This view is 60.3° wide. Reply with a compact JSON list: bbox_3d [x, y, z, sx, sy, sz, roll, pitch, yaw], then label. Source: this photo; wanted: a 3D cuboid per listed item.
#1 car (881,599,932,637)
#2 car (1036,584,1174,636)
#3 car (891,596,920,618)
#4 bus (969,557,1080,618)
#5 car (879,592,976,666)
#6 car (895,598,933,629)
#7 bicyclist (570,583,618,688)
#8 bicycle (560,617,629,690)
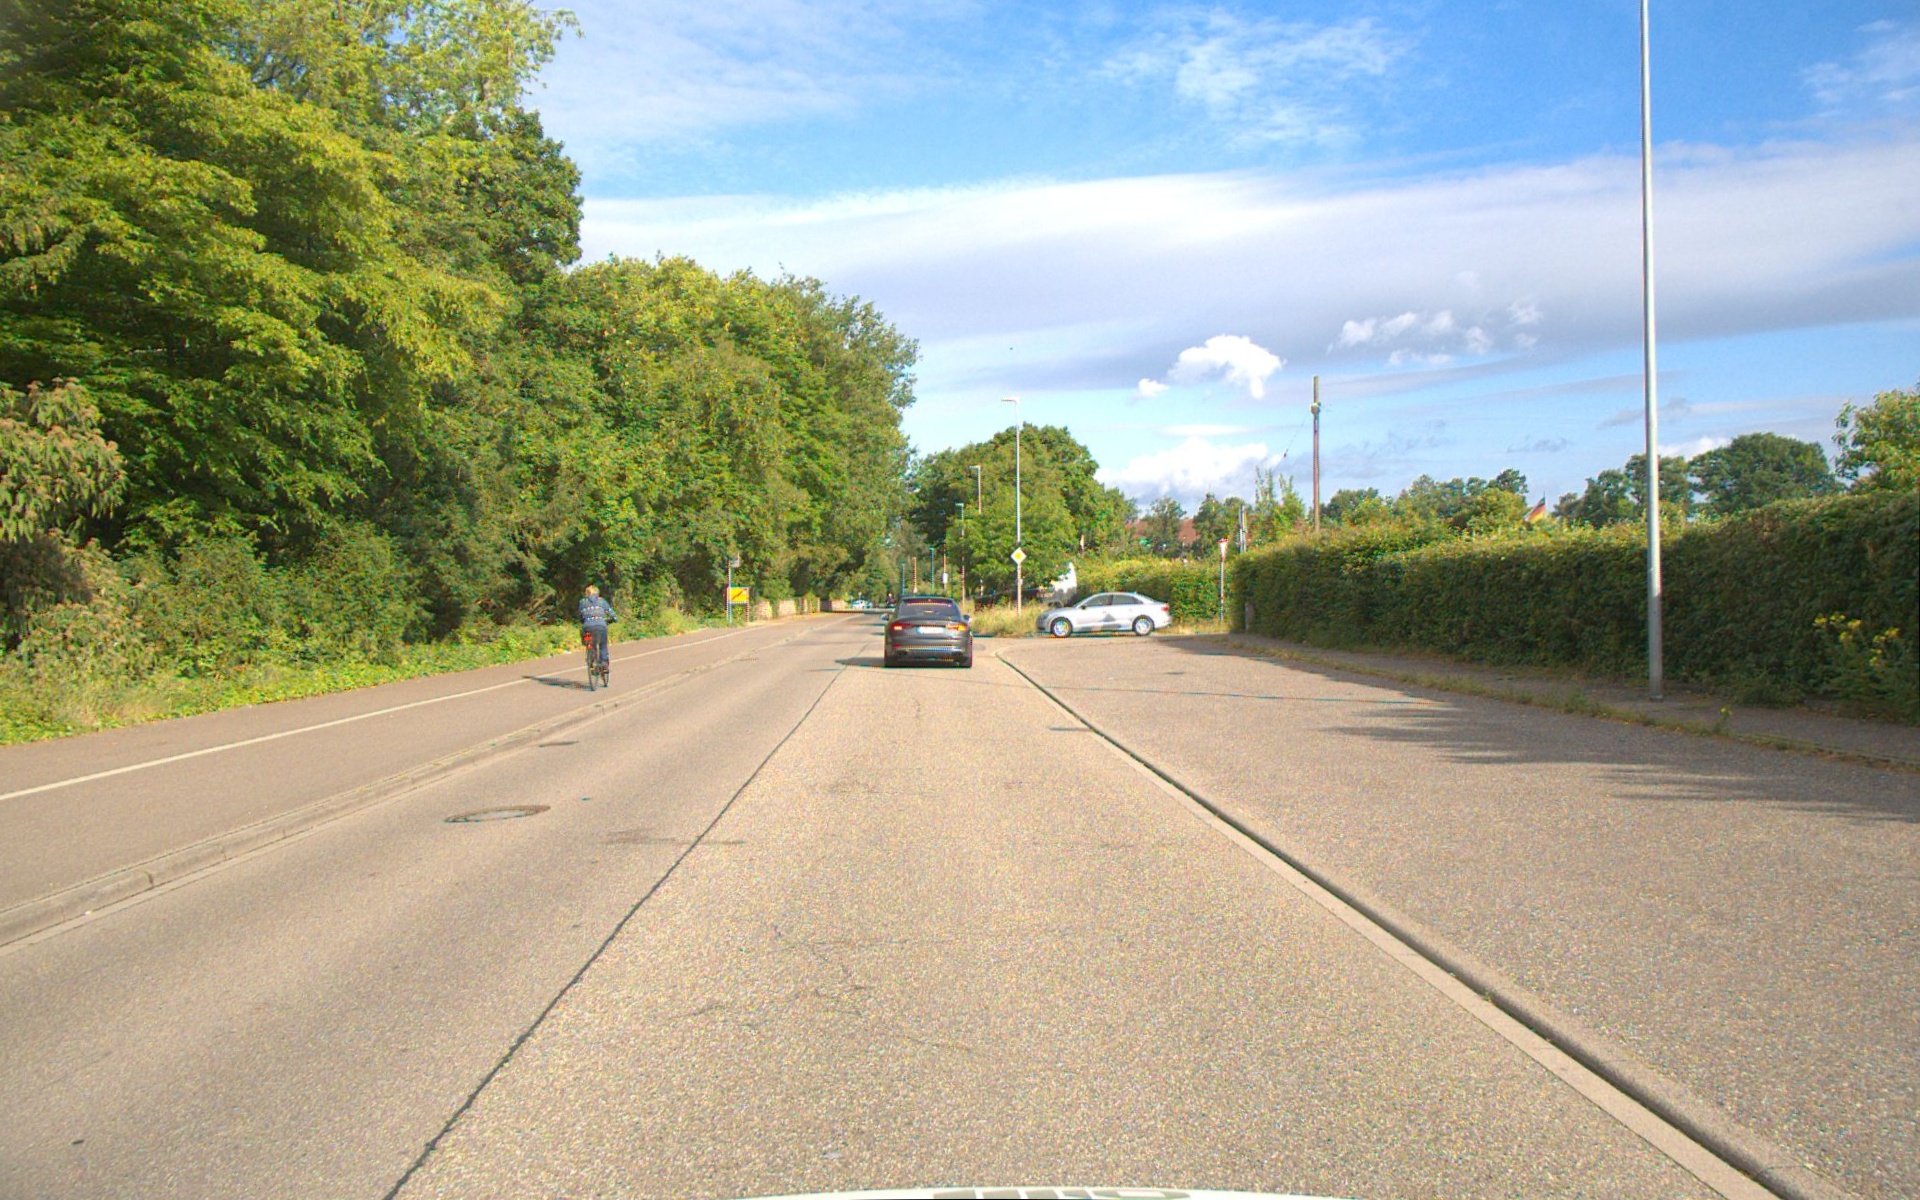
[{"bbox_3d":[-2.082,0.671,63.527,1.849,1.396,4.052,-1,0,-3],"label":"car"},{"bbox_3d":[4.616,0.318,52.837,4.270,1.468,1.933,-2,0,5],"label":"car"},{"bbox_3d":[-3.627,0.435,110.146,1.849,1.396,4.052,-1,0,-3],"label":"car"},{"bbox_3d":[3.190,-0.625,82.800,5.260,2.794,2.066,-2,1,-5],"label":"bus"},{"bbox_3d":[-0.679,0.564,34.951,1.926,1.459,4.335,0,0,-1],"label":"car"},{"bbox_3d":[-2.368,0.670,84.270,1.849,1.490,4.052,-1,0,-3],"label":"car"},{"bbox_3d":[-6.063,0.574,27.424,0.596,1.706,0.883,0,0,-2],"label":"bicyclist"},{"bbox_3d":[-6.050,0.867,27.482,0.649,1.116,2.348,1,0,-1],"label":"bicycle"}]
